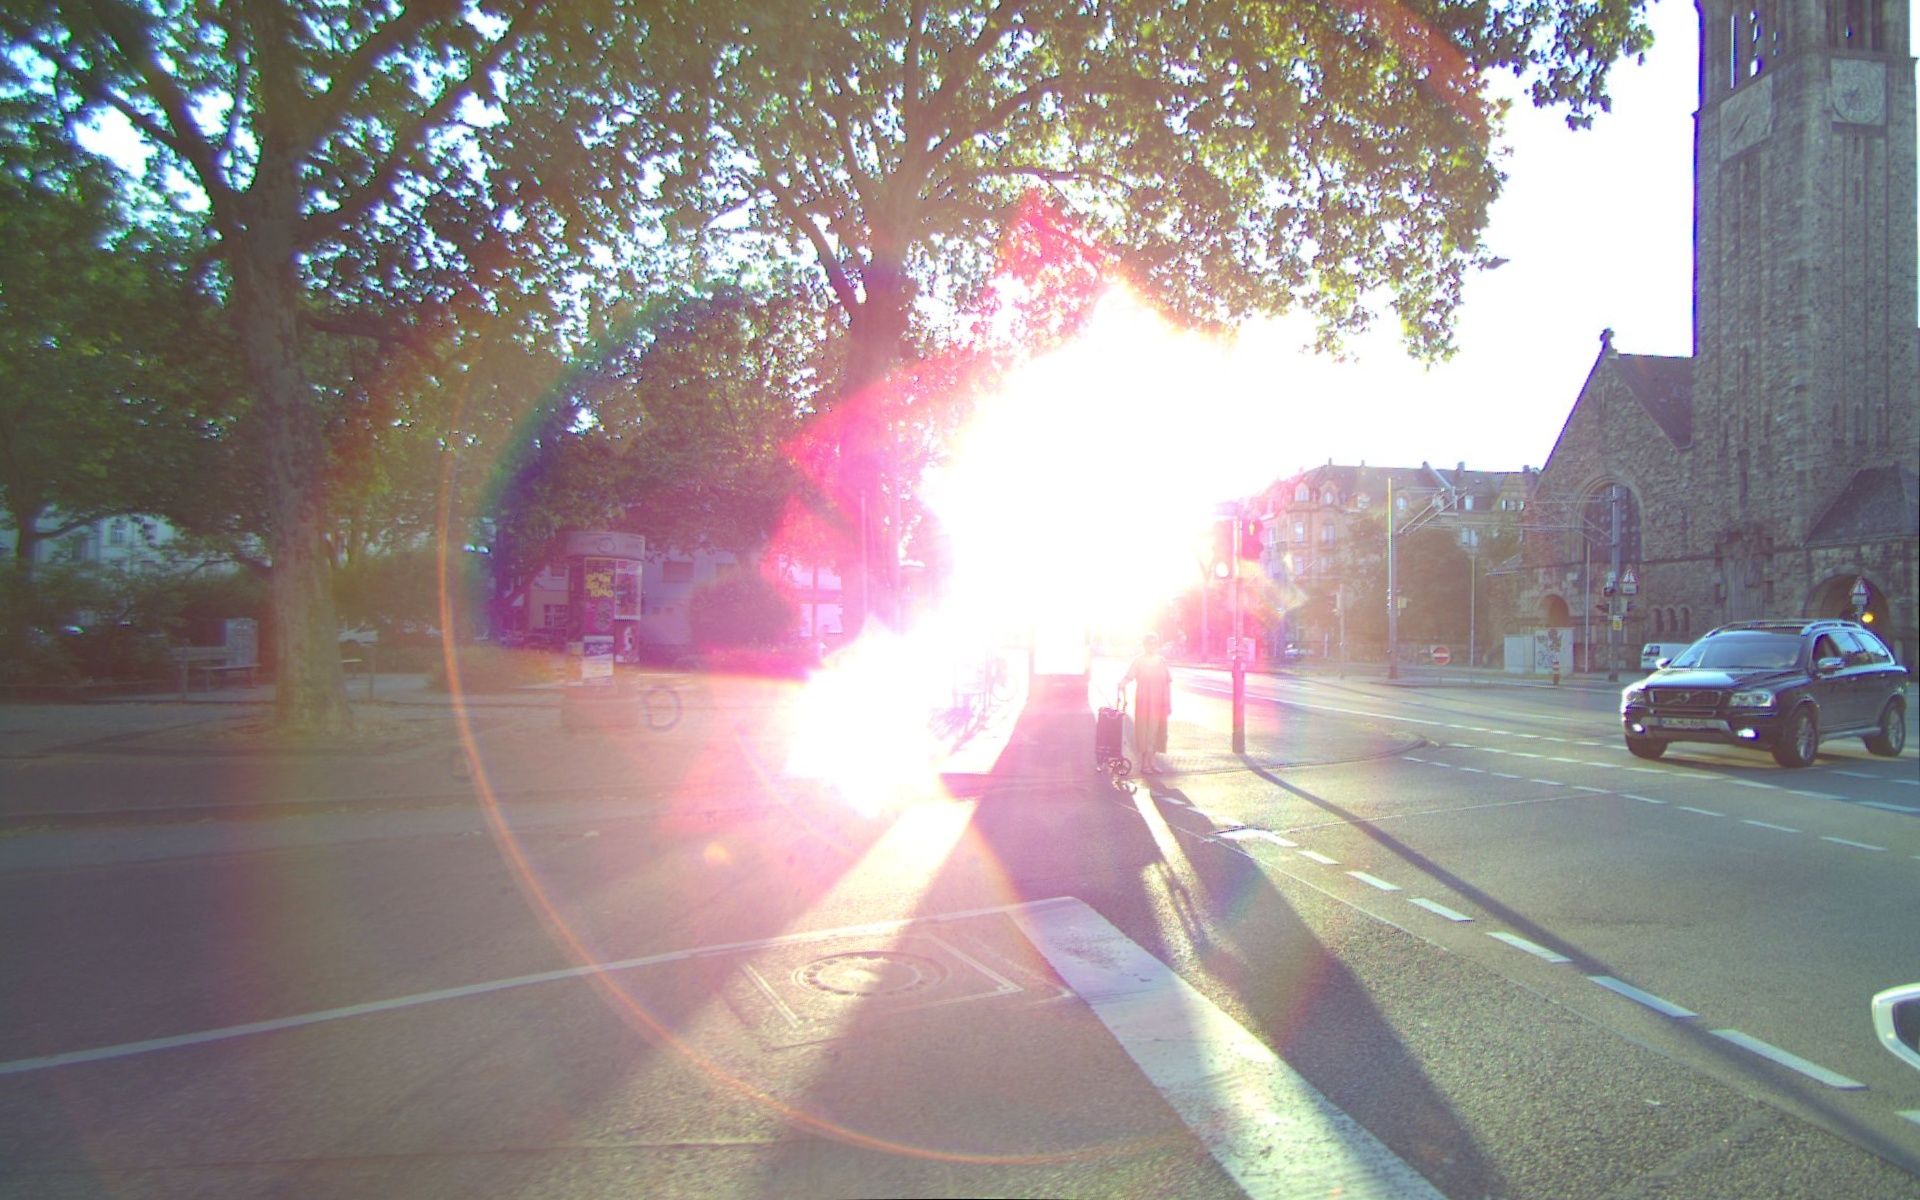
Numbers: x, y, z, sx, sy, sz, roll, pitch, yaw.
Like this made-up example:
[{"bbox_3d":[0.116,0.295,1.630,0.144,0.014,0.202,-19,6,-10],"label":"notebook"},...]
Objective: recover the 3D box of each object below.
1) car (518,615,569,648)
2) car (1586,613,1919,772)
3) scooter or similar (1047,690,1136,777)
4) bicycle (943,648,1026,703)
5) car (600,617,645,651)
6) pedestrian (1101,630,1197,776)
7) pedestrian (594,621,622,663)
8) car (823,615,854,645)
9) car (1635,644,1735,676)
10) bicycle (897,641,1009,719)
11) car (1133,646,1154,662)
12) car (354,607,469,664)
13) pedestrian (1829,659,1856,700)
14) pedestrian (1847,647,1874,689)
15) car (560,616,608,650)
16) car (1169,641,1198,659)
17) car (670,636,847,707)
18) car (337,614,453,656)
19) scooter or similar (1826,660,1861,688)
[{"bbox_3d":[-26.653,2.007,64.444,1.963,2.040,3.995,2,-1,-7],"label":"car"},{"bbox_3d":[10.761,1.138,13.564,4.742,1.808,1.984,2,-2,-31],"label":"car"},{"bbox_3d":[1.528,1.527,11.656,0.844,0.909,0.587,3,-2,-36],"label":"scooter or similar"},{"bbox_3d":[0.530,1.596,21.237,1.779,1.107,0.455,3,-1,-32],"label":"bicycle"},{"bbox_3d":[-21.883,2.196,65.326,1.963,2.040,3.995,2,-1,-7],"label":"car"},{"bbox_3d":[2.262,1.201,12.046,0.766,1.649,0.797,3,-1,-34],"label":"pedestrian"},{"bbox_3d":[-14.540,1.724,41.508,0.869,1.694,0.740,2,-1,-7],"label":"pedestrian"},{"bbox_3d":[-8.020,1.956,66.410,1.882,1.873,3.996,2,-1,-7],"label":"car"},{"bbox_3d":[39.952,3.296,55.391,4.371,1.536,1.718,2,-1,-5],"label":"car"},{"bbox_3d":[-0.119,1.450,18.219,1.967,1.344,0.524,3,-1,-25],"label":"bicycle"},{"bbox_3d":[25.057,7.402,137.185,1.961,2.040,3.999,2,-1,-3],"label":"car"},{"bbox_3d":[-18.460,1.232,34.068,1.963,1.804,4.496,0,-3,-9],"label":"car"},{"bbox_3d":[37.508,3.375,42.712,0.593,1.721,0.633,2,-1,-17],"label":"pedestrian"},{"bbox_3d":[37.702,2.830,42.058,0.593,1.721,0.633,2,-1,-18],"label":"pedestrian"},{"bbox_3d":[-24.201,2.102,64.821,1.963,2.040,3.995,2,-1,-7],"label":"car"},{"bbox_3d":[26.982,6.018,121.441,1.964,2.040,3.994,2,-1,-10],"label":"car"},{"bbox_3d":[-5.457,1.940,27.715,4.552,1.804,1.999,-1,-3,-4],"label":"car"},{"bbox_3d":[-27.930,1.752,49.775,4.556,1.963,1.998,0,-3,-9],"label":"car"},{"bbox_3d":[36.683,3.068,41.701,1.061,1.117,0.633,2,-2,-19],"label":"scooter or similar"}]
